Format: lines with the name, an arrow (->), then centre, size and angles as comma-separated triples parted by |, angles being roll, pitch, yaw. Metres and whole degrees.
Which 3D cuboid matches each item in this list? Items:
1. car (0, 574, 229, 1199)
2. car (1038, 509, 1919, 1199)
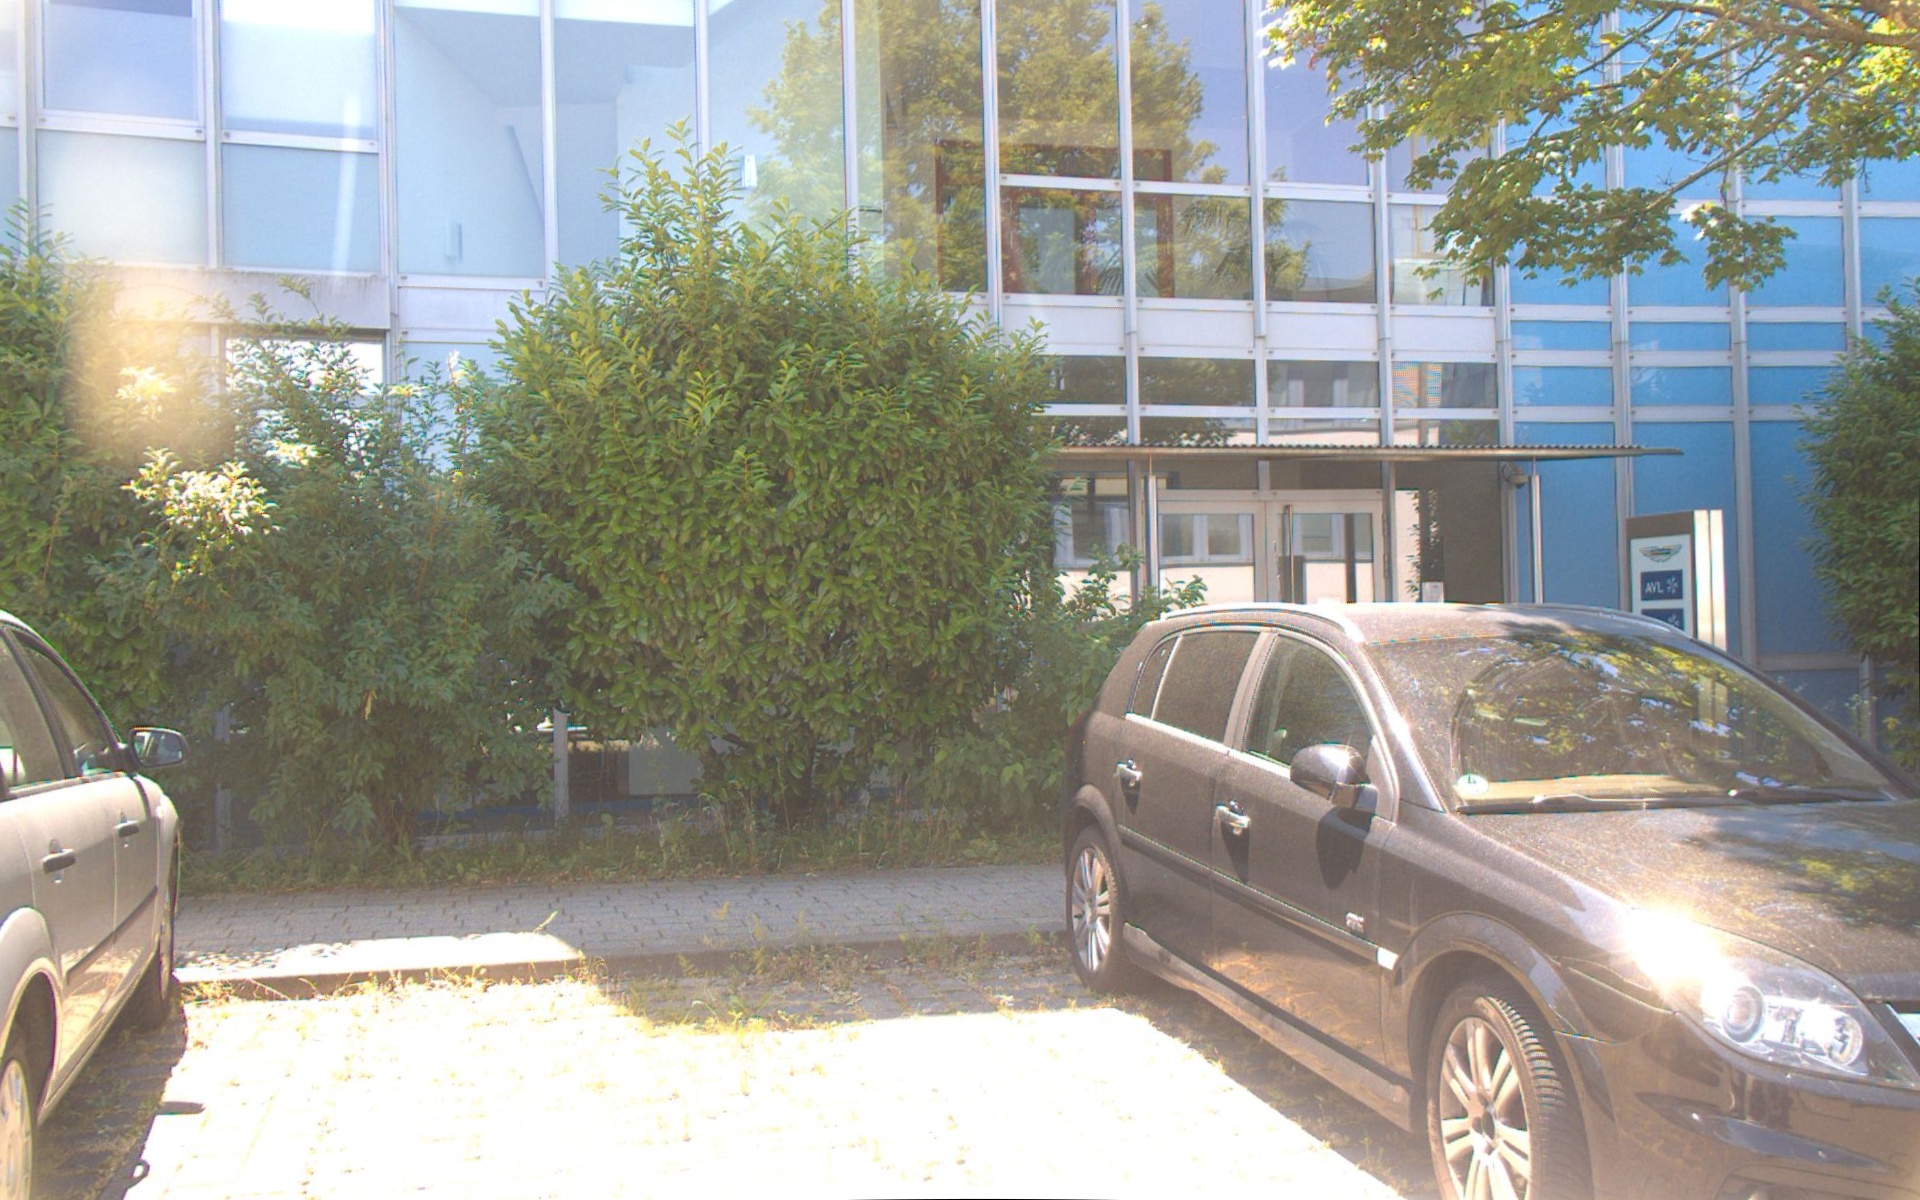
car -> -3.048, 0.719, 4.230 | 1.693, 1.505, 4.326 | 0, -1, -18
car -> 1.688, 0.667, 5.120 | 1.728, 1.576, 4.549 | 0, -1, -13
